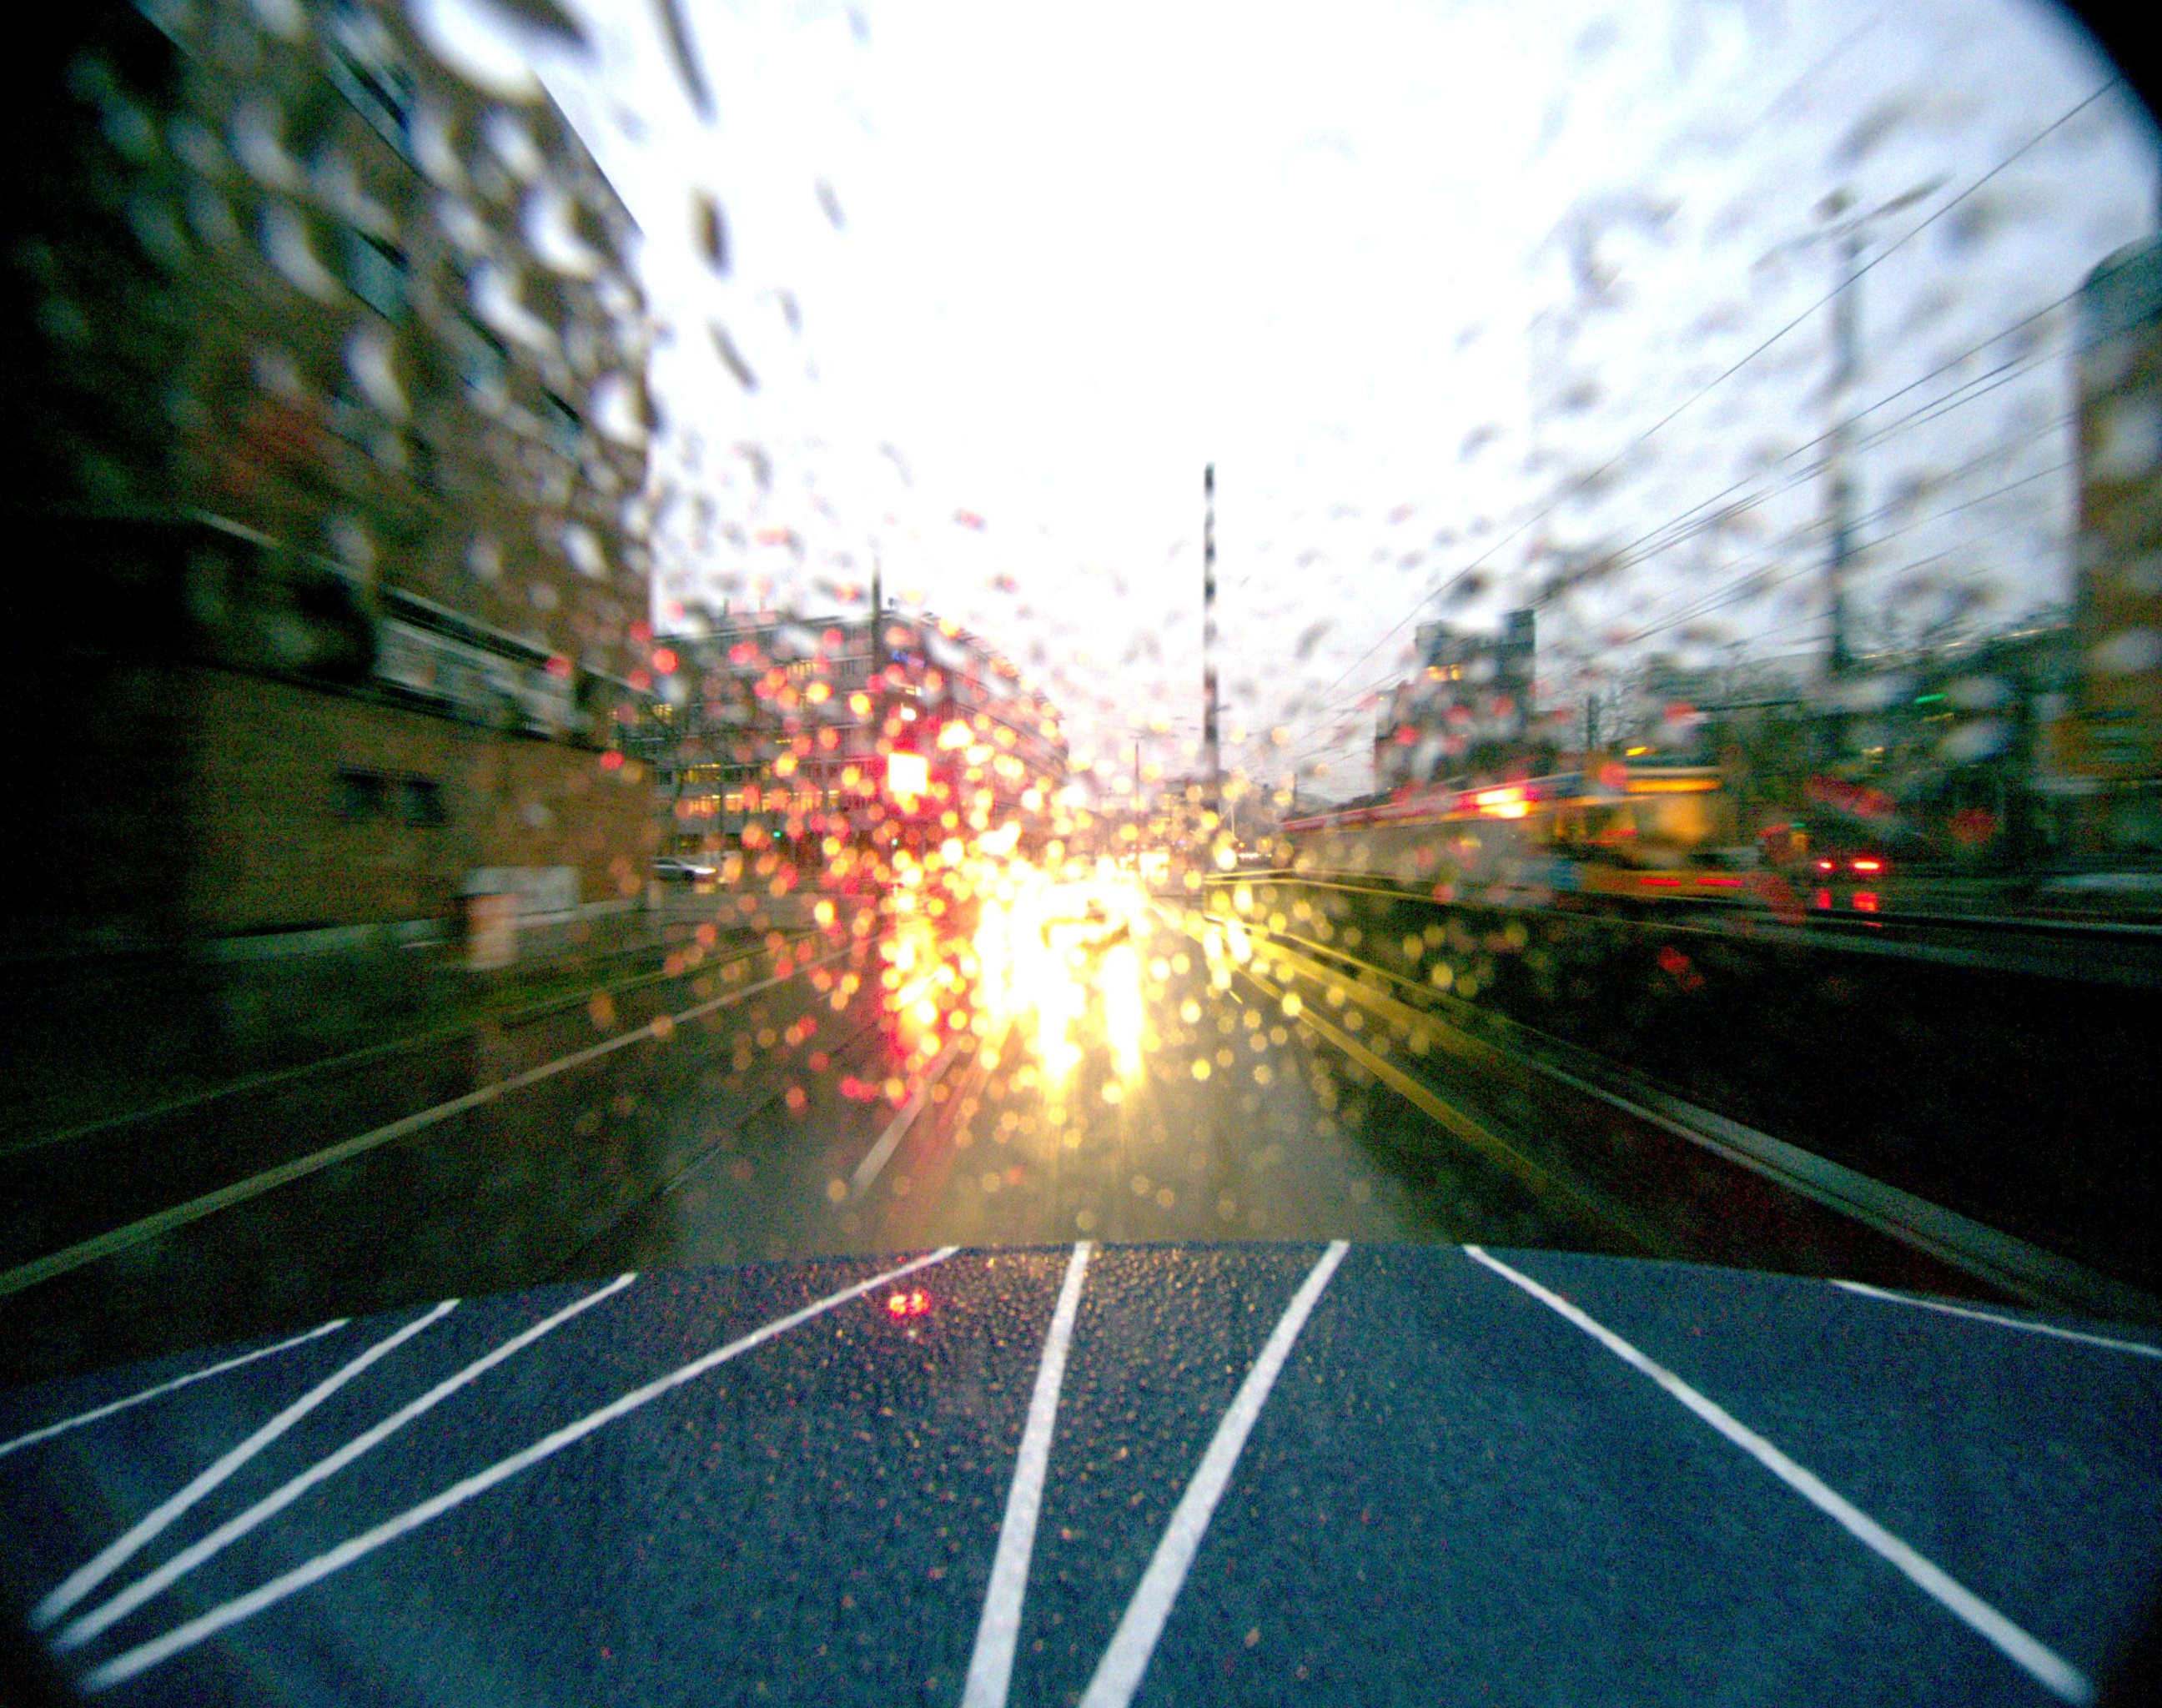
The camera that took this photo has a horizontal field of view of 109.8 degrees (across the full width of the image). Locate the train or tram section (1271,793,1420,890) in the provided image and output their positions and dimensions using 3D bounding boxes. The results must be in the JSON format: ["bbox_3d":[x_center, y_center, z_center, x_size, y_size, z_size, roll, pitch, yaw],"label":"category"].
[{"bbox_3d":[11.555,-0.503,34.875,2.957,3.568,12.256,-2,0,2],"label":"train or tram section"}]

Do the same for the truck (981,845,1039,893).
[{"bbox_3d":[-3.039,0.605,33.427,1.909,1.906,4.617,-2,0,2],"label":"truck"}]

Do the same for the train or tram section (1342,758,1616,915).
[{"bbox_3d":[11.155,-0.434,23.205,2.932,3.557,11.036,-2,0,2],"label":"train or tram section"}]

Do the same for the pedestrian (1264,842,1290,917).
[{"bbox_3d":[4.564,0.584,17.687,0.434,1.725,0.473,-1,1,-3],"label":"pedestrian"}]

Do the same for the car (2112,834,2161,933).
[{"bbox_3d":[17.351,0.450,10.577,1.521,1.508,3.325,-2,1,1],"label":"car"}]

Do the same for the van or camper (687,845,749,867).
[{"bbox_3d":[-33.053,0.168,69.180,4.743,1.918,1.842,-1,1,3],"label":"van or camper"}]

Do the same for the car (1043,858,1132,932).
[{"bbox_3d":[0.182,0.851,17.760,1.773,1.449,4.222,-2,0,1],"label":"car"}]

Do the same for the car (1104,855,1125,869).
[{"bbox_3d":[3.881,0.881,86.510,1.682,1.563,3.764,0,0,13],"label":"car"}]

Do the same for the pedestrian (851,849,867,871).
[{"bbox_3d":[-18.287,0.499,62.532,1.152,1.777,0.777,0,1,-8],"label":"pedestrian"}]

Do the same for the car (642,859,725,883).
[{"bbox_3d":[-23.490,0.994,44.982,3.989,1.333,1.815,-1,1,5],"label":"car"}]

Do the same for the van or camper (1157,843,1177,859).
[{"bbox_3d":[13.695,-0.466,120.944,2.183,2.338,5.656,-2,0,17],"label":"van or camper"}]

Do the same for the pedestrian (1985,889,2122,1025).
[{"bbox_3d":[8.741,0.906,6.848,0.581,1.146,0.490,-2,1,4],"label":"pedestrian"}]

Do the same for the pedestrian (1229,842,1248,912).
[{"bbox_3d":[4.066,0.576,19.611,0.360,1.776,0.440,-1,1,-3],"label":"pedestrian"}]

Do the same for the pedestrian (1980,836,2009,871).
[{"bbox_3d":[53.202,-0.024,44.250,0.746,2.002,0.720,0,1,9],"label":"pedestrian"}]

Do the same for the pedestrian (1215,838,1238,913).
[{"bbox_3d":[3.665,0.529,19.173,0.413,1.835,0.669,-1,1,-3],"label":"pedestrian"}]

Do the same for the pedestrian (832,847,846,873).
[{"bbox_3d":[-16.958,0.402,53.298,0.801,1.800,0.649,-1,1,-31],"label":"pedestrian"}]

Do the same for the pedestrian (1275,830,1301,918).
[{"bbox_3d":[4.695,0.442,17.229,0.434,1.956,0.473,-1,1,-3],"label":"pedestrian"}]

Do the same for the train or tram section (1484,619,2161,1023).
[{"bbox_3d":[10.676,-0.362,12.165,2.906,3.547,11.036,-2,0,2],"label":"train or tram section"}]

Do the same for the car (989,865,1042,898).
[{"bbox_3d":[-3.989,1.655,46.837,1.907,1.808,4.693,-2,0,12],"label":"car"}]

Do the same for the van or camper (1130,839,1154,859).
[{"bbox_3d":[8.074,-0.706,99.823,2.059,2.533,5.891,-2,0,14],"label":"van or camper"}]

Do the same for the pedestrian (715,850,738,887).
[{"bbox_3d":[-17.303,0.716,37.081,0.735,1.777,0.735,0,1,-1],"label":"pedestrian"}]
